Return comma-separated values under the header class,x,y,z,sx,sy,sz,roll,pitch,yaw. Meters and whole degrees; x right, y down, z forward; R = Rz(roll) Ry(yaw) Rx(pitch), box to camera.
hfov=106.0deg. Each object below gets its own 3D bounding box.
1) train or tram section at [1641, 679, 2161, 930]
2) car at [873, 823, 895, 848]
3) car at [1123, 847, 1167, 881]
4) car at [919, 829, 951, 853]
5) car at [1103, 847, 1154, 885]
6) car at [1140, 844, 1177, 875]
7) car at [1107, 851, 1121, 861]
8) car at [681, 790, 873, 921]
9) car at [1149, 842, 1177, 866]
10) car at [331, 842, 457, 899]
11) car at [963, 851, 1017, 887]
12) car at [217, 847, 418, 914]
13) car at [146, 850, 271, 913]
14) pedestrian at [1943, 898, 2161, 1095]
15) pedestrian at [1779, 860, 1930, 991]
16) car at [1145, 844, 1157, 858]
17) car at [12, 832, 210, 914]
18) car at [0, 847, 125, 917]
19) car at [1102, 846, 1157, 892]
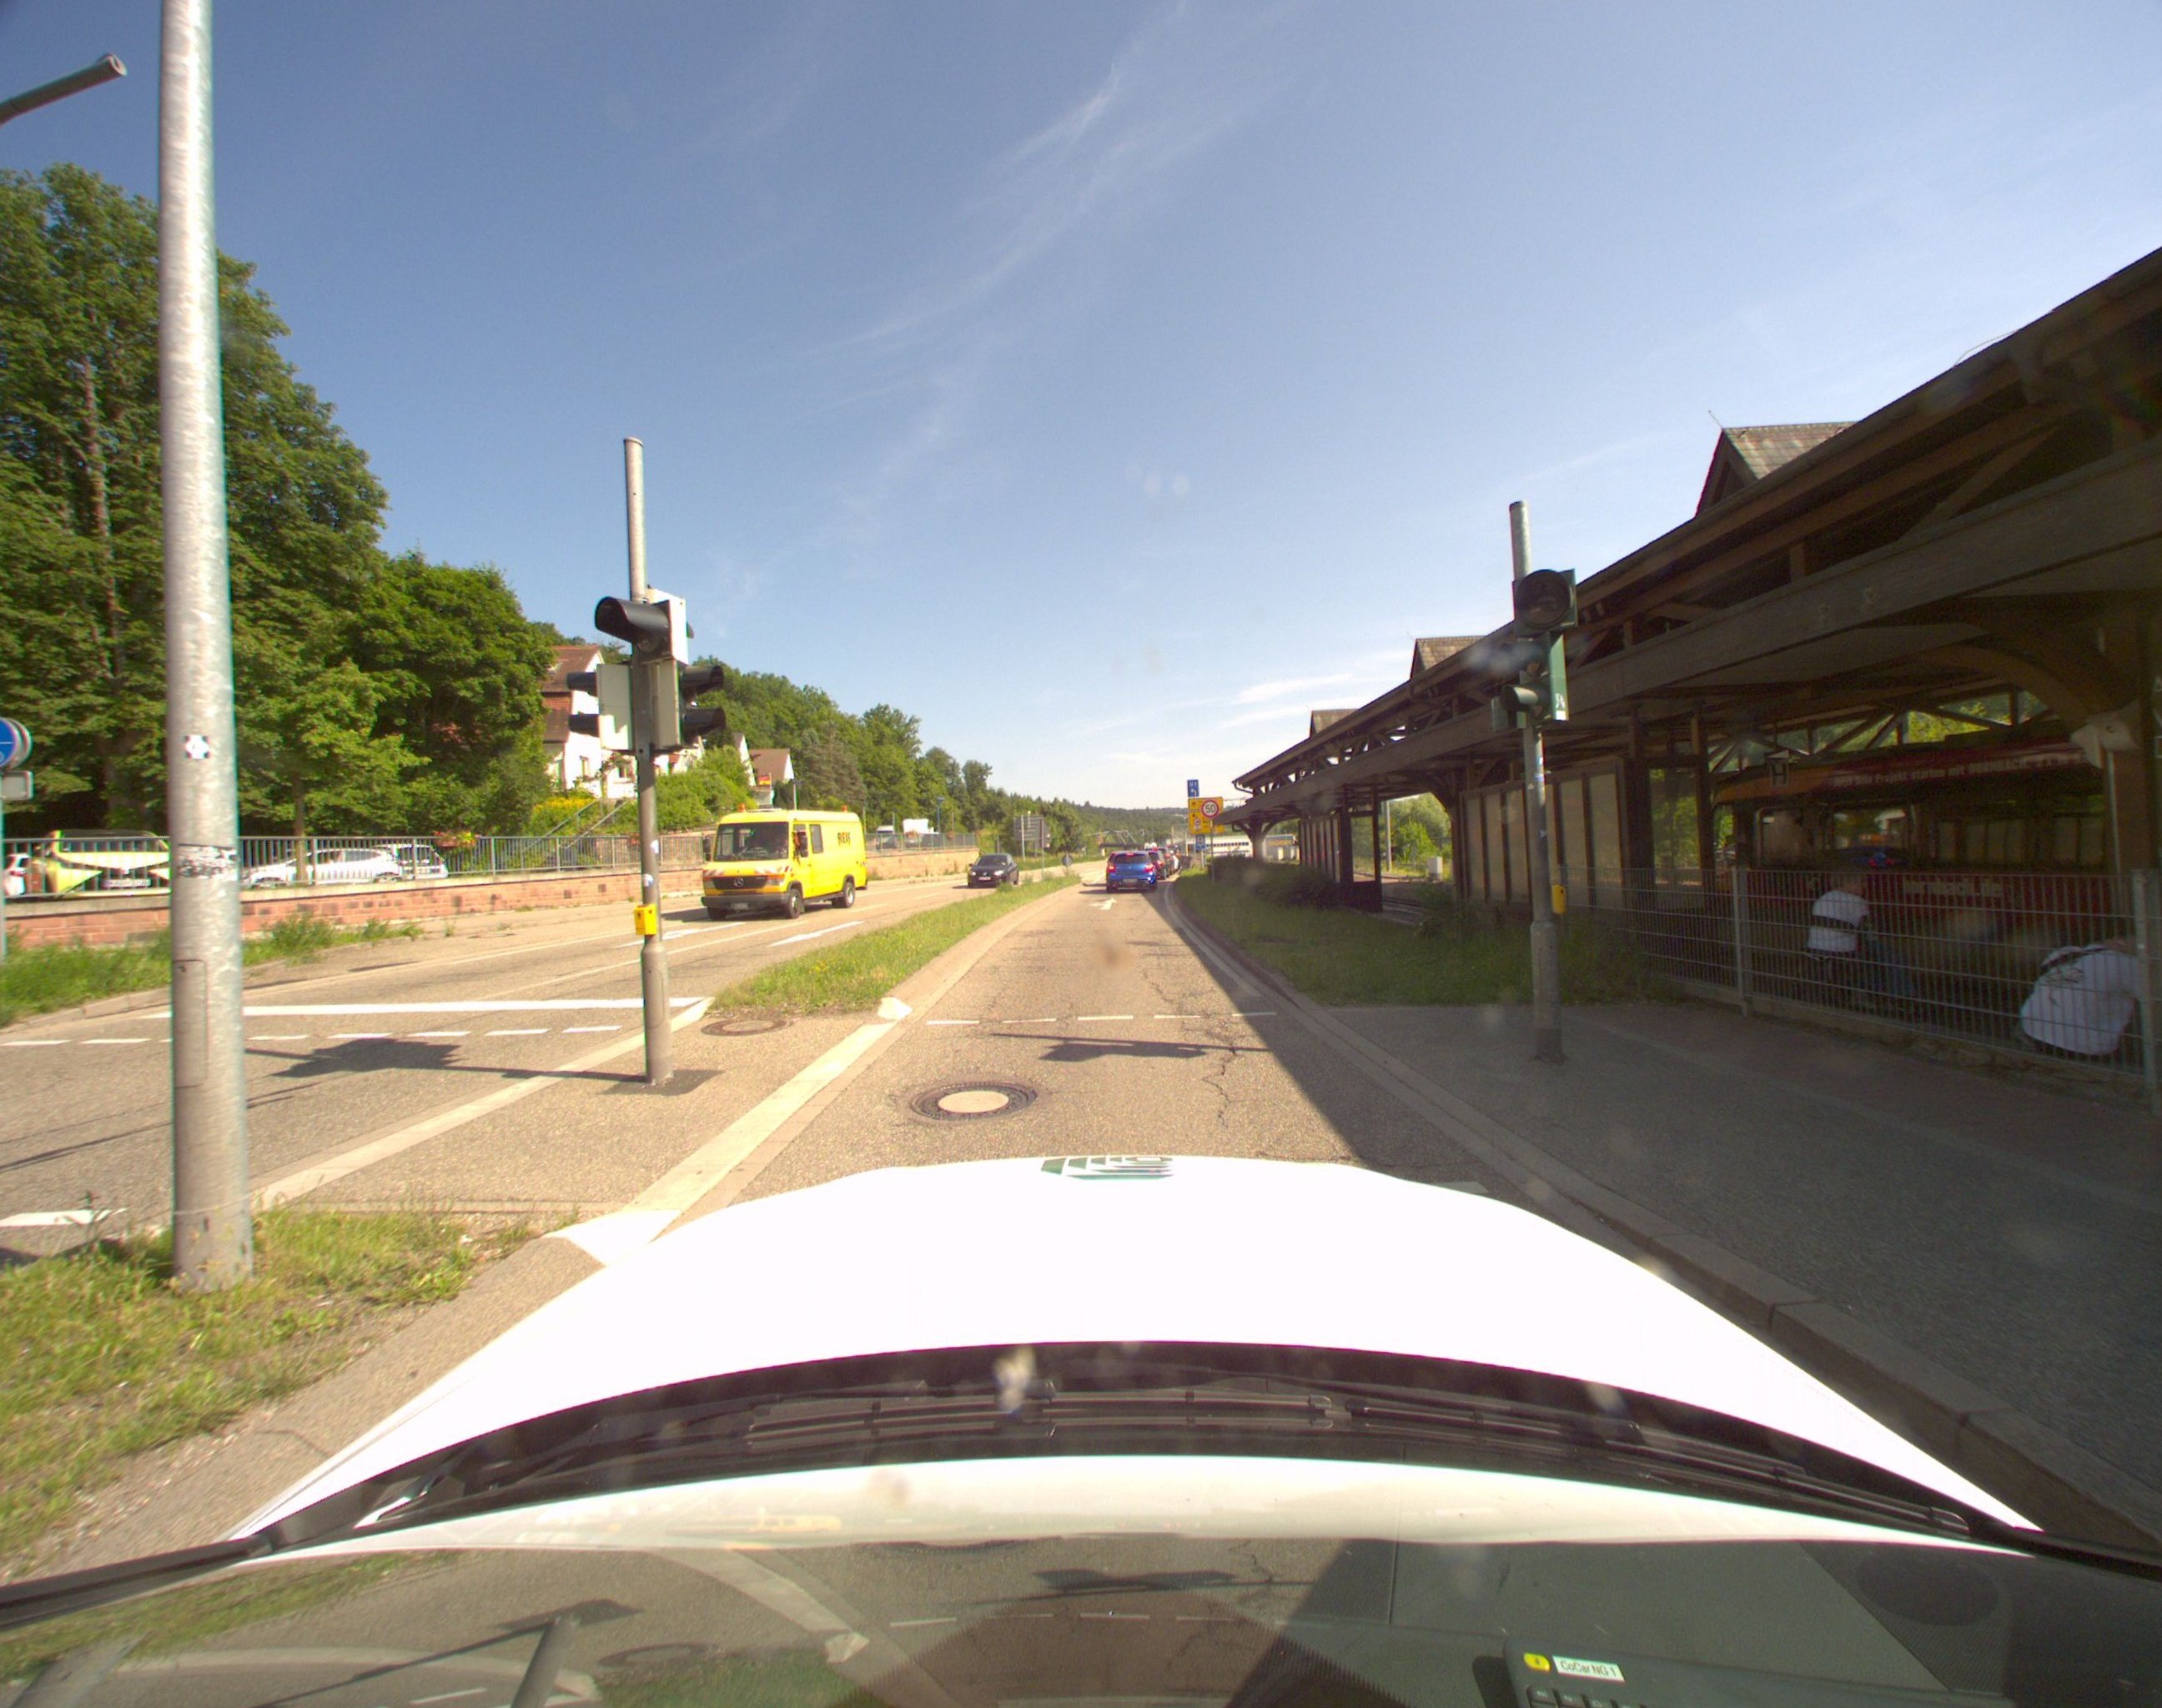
class,x,y,z,sx,sy,sz,roll,pitch,yaw
train or tram section,15.974,-0.722,15.395,2.746,3.364,12.052,0,1,1
car,-19.971,-1.850,82.463,2.096,2.444,5.758,0,1,-14
car,3.257,0.452,40.788,1.983,1.531,4.610,-2,0,7
car,-12.543,-1.140,70.083,2.015,1.920,4.729,0,1,-1
car,2.150,0.492,35.588,1.983,1.571,4.008,0,0,7
car,4.492,0.282,46.799,1.983,1.686,4.506,0,0,7
car,5.535,0.289,134.743,1.781,1.470,4.727,-1,0,8
car,-7.879,0.034,22.109,2.456,3.011,6.472,0,0,3
car,6.126,-0.014,60.754,1.983,1.736,4.008,0,0,7
car,-24.436,0.533,28.974,3.951,1.875,1.925,1,1,25
car,-3.968,0.612,36.152,1.739,1.462,4.045,-2,0,2
car,-22.724,0.736,24.399,1.897,1.789,4.026,-2,0,33
car,-26.500,0.754,24.716,3.948,1.671,2.013,1,1,34
pedestrian,5.758,0.778,4.706,0.740,0.982,0.768,0,1,-3
pedestrian,7.004,0.625,7.408,0.740,1.116,0.667,0,1,-3
car,11.074,-0.536,128.636,1.984,2.144,4.726,0,0,5
car,-18.583,0.267,15.576,3.949,1.381,1.926,1,1,32
car,-28.528,0.704,22.547,3.949,1.700,1.926,1,2,29
car,1.819,0.505,29.915,1.860,1.548,4.005,-1,0,4
